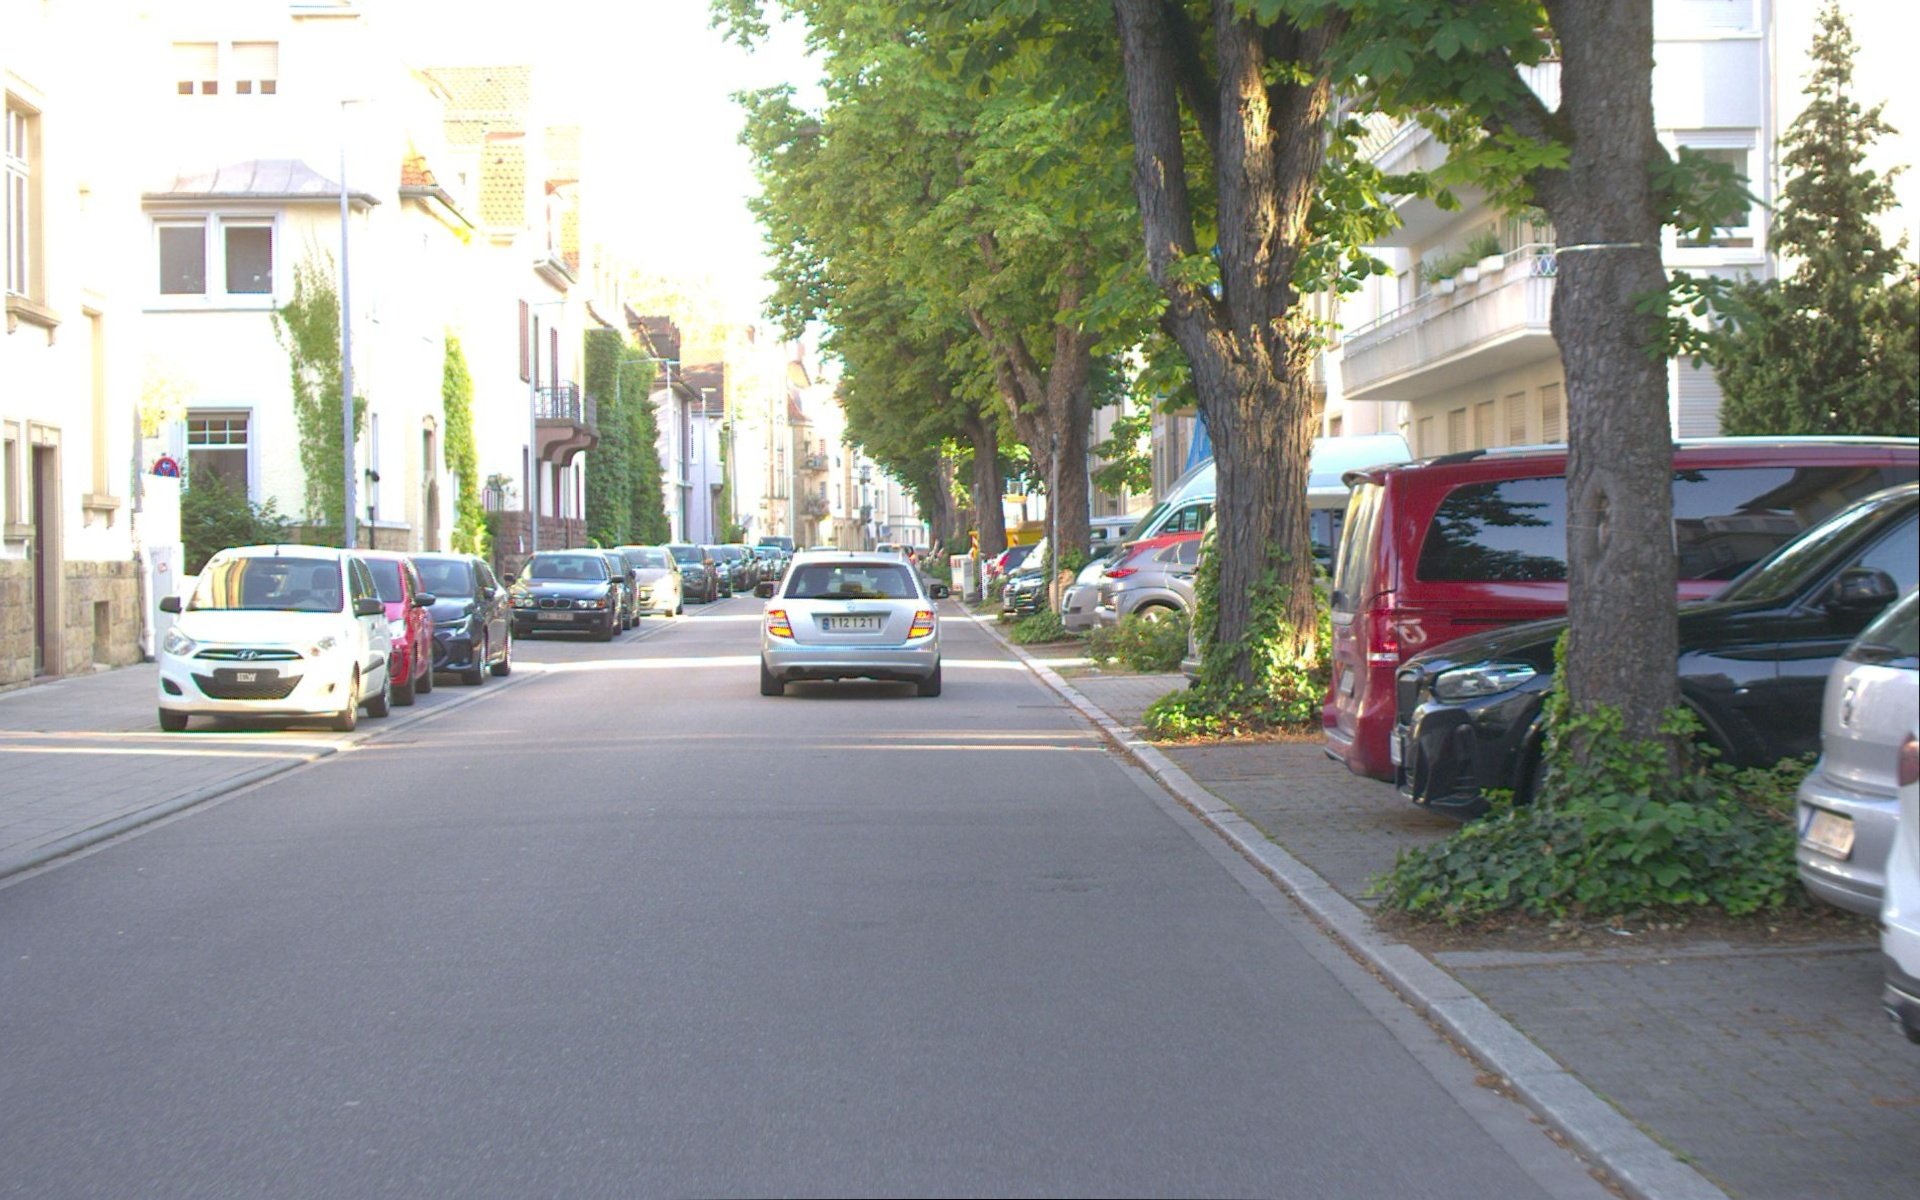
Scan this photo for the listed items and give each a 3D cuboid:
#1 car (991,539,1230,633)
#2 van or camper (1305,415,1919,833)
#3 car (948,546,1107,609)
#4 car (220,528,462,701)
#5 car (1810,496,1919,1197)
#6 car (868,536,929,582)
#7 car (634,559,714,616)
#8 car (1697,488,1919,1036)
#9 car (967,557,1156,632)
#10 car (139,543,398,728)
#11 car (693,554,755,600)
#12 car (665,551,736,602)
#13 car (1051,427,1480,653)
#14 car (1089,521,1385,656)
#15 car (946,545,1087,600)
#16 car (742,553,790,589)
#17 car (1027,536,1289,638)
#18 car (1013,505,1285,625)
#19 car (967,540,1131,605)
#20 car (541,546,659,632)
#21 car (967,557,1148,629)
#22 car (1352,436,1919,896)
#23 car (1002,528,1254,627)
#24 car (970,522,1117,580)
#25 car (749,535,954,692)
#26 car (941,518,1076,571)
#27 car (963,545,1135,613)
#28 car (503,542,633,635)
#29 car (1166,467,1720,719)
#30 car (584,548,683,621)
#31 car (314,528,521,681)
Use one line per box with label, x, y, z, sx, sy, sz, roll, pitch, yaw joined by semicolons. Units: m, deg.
car;2.447;-0.240;56.650;3.844;1.477;1.805;-1;1;0
van or camper;3.994;0.098;17.536;4.313;2.007;2.000;0;1;2
car;1.635;-0.556;84.099;3.844;1.477;1.805;-1;1;0
car;-6.150;0.149;34.536;1.799;1.639;3.857;0;0;-1
car;3.983;0.517;7.611;3.730;1.553;1.725;-1;1;-2
car;-2.010;-1.330;113.548;1.817;1.468;4.216;0;0;2
car;-7.203;-0.329;86.958;1.799;1.382;3.606;0;1;-1
car;4.448;0.448;10.814;3.812;1.563;1.744;0;1;-5
car;2.080;-0.133;71.332;3.844;1.477;1.805;-1;1;0
car;-5.890;0.267;29.632;1.659;1.494;3.754;0;0;-3
car;-7.444;-0.745;108.652;1.799;1.382;3.606;0;1;-1
car;-7.289;-0.672;96.968;1.799;1.382;3.606;0;1;-1
car;4.125;-0.831;47.140;5.541;2.958;2.472;-1;1;-3
car;3.524;-0.161;44.135;3.594;1.654;1.650;-1;1;-3
car;1.558;-0.773;95.409;3.844;1.477;1.805;-1;1;0
car;-7.787;-1.183;138.096;1.799;1.382;3.606;0;1;-1
car;2.967;-0.211;52.051;3.844;1.477;1.805;-1;1;0
car;3.268;-0.621;60.191;4.518;2.007;2.251;-1;1;-3
car;2.087;-0.653;81.837;3.844;1.477;1.805;-1;1;0
car;-6.513;-0.223;62.509;1.799;1.477;3.857;0;1;-1
car;2.084;-0.156;74.136;3.844;1.477;1.805;-1;1;0
car;4.116;0.250;14.700;4.625;1.830;1.954;0;1;-1
car;2.608;-0.369;54.029;3.844;1.477;1.805;-1;1;0
car;2.200;-1.296;91.227;3.844;1.477;1.805;-1;1;0
car;-1.037;0.124;34.696;1.817;1.468;4.216;0;0;2
car;1.392;-1.594;98.972;3.844;1.477;1.805;-1;1;0
car;2.005;-0.495;78.415;3.844;1.477;1.805;-1;1;0
car;-6.473;-0.222;57.122;1.799;1.477;3.857;0;1;-1
car;3.829;-0.075;27.733;4.129;1.915;1.891;-1;1;-3
car;-6.896;-0.359;72.831;1.799;1.477;3.857;0;1;-1
car;-6.067;0.013;38.833;1.799;1.639;3.857;0;1;-1
